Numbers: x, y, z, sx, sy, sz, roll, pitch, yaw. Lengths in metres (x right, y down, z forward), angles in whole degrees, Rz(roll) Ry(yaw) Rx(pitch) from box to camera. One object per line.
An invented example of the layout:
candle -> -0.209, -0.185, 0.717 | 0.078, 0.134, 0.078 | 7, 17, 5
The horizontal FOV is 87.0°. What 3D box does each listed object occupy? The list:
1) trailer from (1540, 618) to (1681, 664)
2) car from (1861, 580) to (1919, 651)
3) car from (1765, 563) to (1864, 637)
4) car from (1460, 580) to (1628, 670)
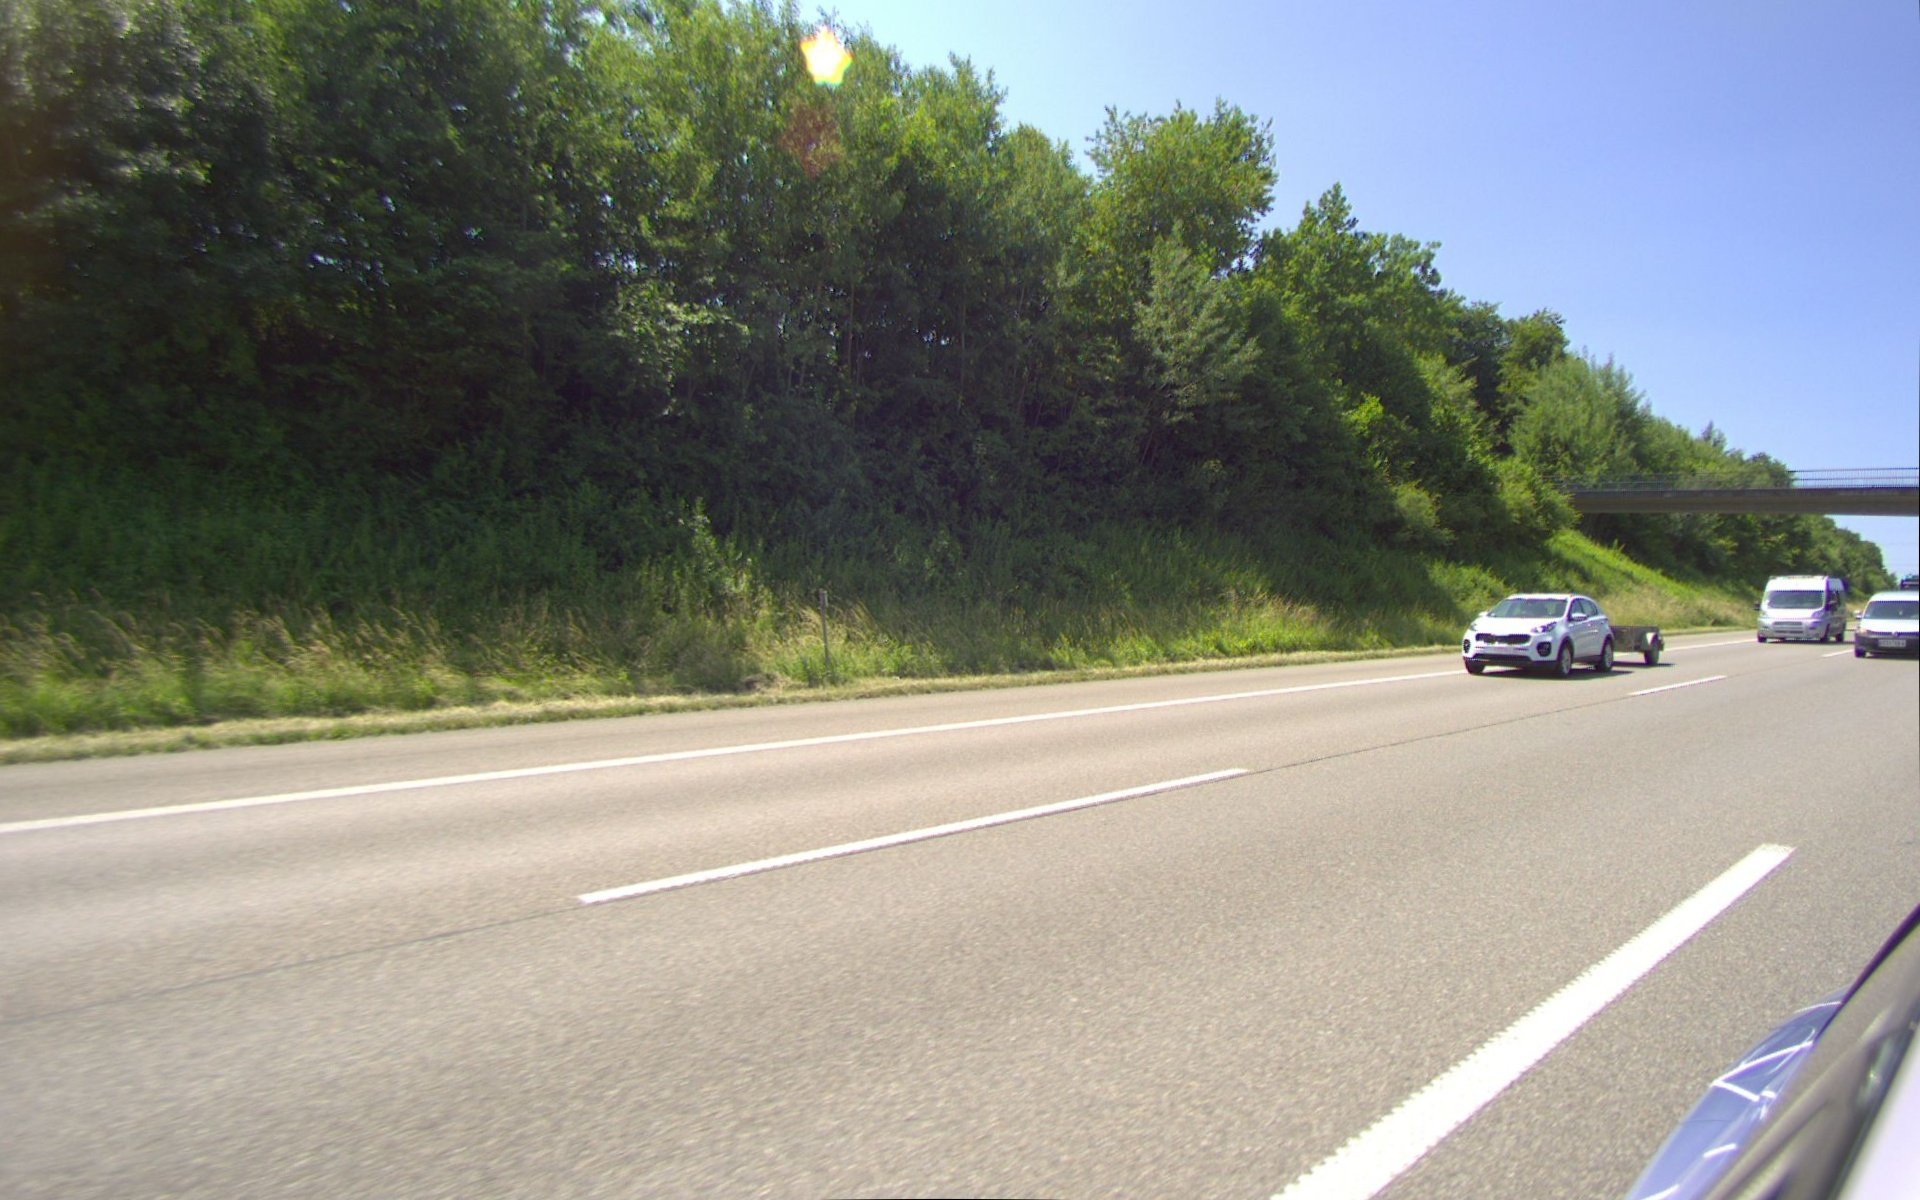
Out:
trailer -> 15.395, 0.911, 23.865 | 4.245, 0.920, 1.756 | 0, 0, -42
car -> 26.706, 0.406, 28.369 | 4.720, 1.853, 1.747 | 0, 0, -43
car -> 32.777, 0.044, 38.749 | 6.508, 2.609, 2.092 | 1, -1, -42
car -> 12.184, 0.497, 20.996 | 4.327, 1.672, 1.783 | 1, -1, -42
